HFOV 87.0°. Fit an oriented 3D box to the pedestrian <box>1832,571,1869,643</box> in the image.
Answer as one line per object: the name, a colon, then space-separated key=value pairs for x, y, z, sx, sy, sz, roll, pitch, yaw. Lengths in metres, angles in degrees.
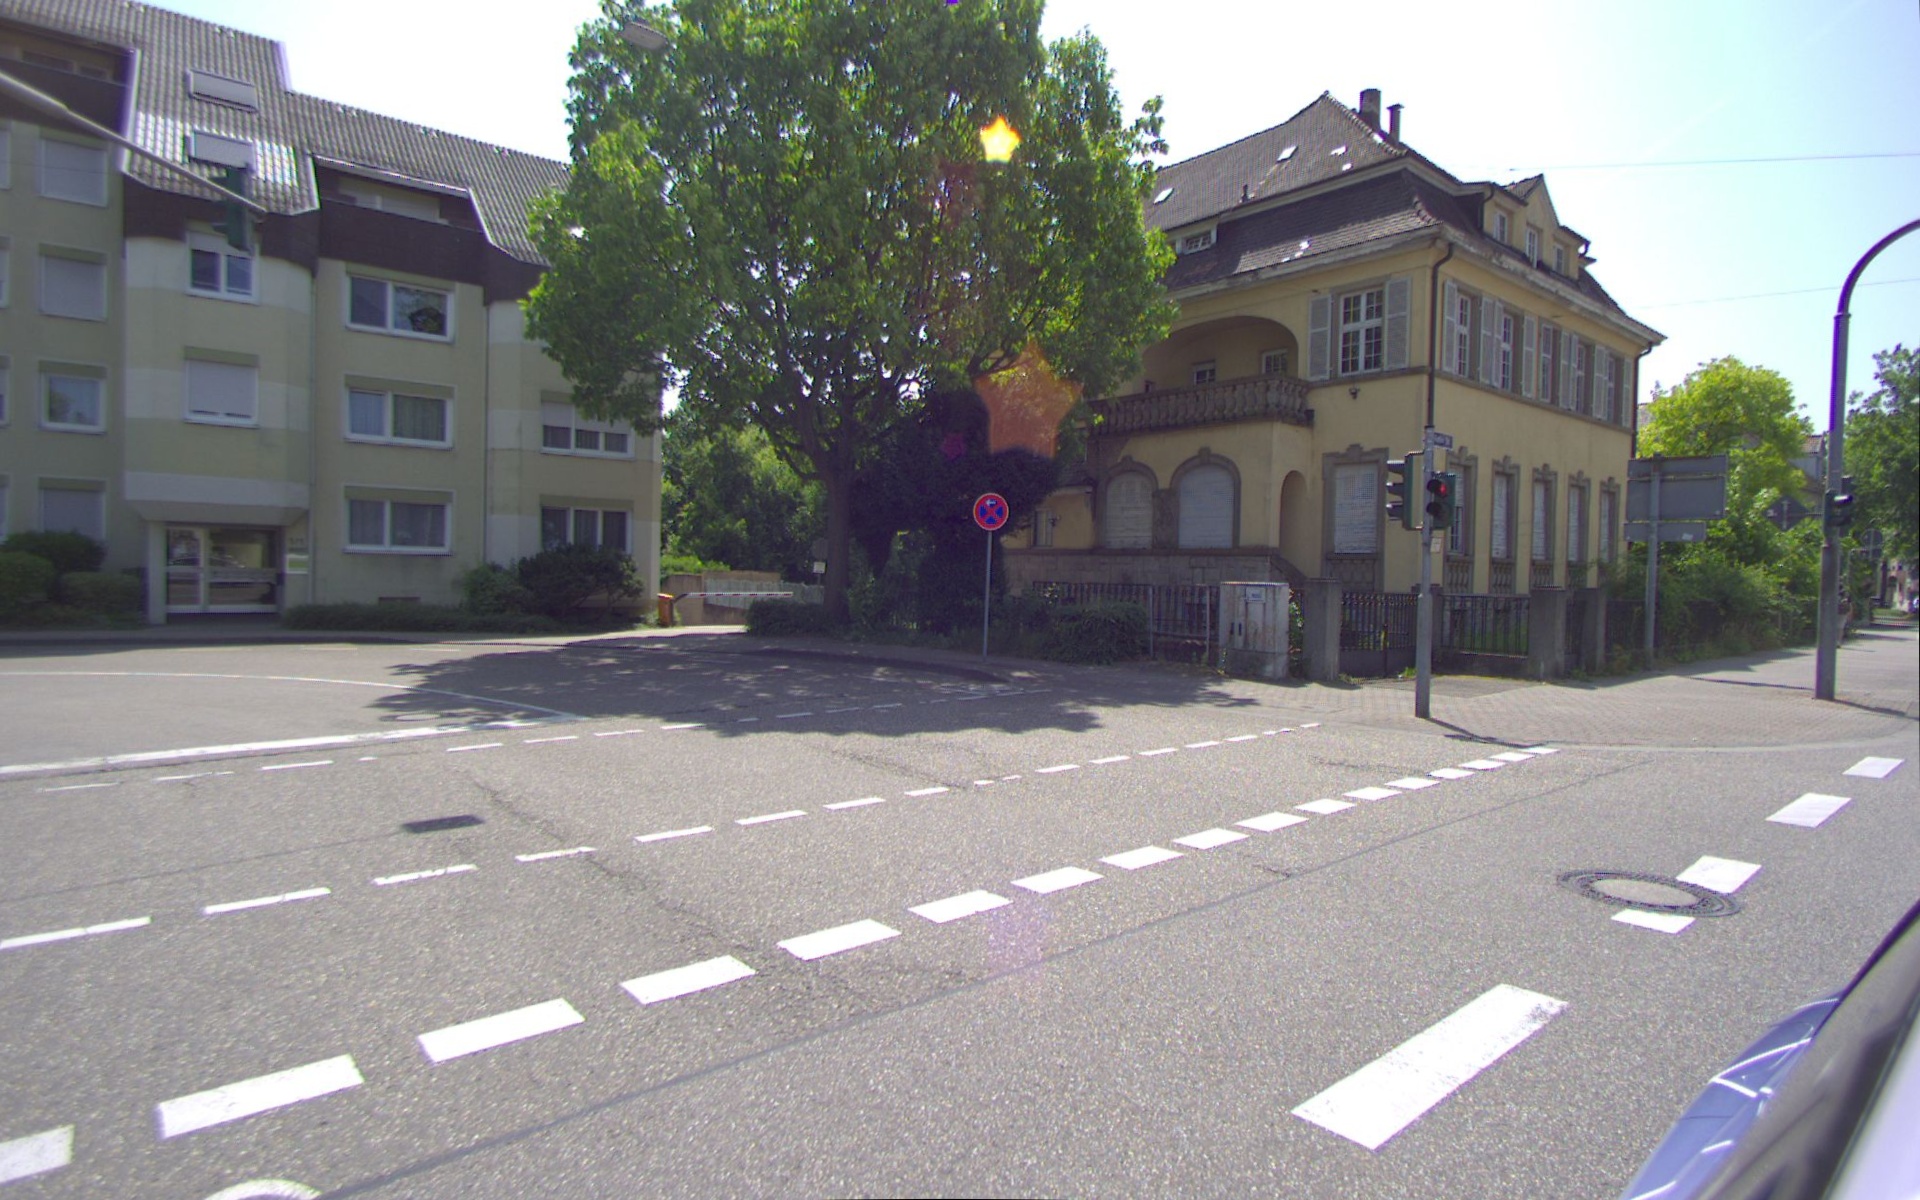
pedestrian: x=24.532 y=0.187 z=27.882 sx=0.731 sy=1.942 sz=0.620 roll=0 pitch=2 yaw=-41

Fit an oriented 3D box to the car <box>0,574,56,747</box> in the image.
car: x=-11.601 y=0.575 z=9.629 sx=4.738 sy=1.652 sz=1.914 roll=0 pitch=1 yaw=8
